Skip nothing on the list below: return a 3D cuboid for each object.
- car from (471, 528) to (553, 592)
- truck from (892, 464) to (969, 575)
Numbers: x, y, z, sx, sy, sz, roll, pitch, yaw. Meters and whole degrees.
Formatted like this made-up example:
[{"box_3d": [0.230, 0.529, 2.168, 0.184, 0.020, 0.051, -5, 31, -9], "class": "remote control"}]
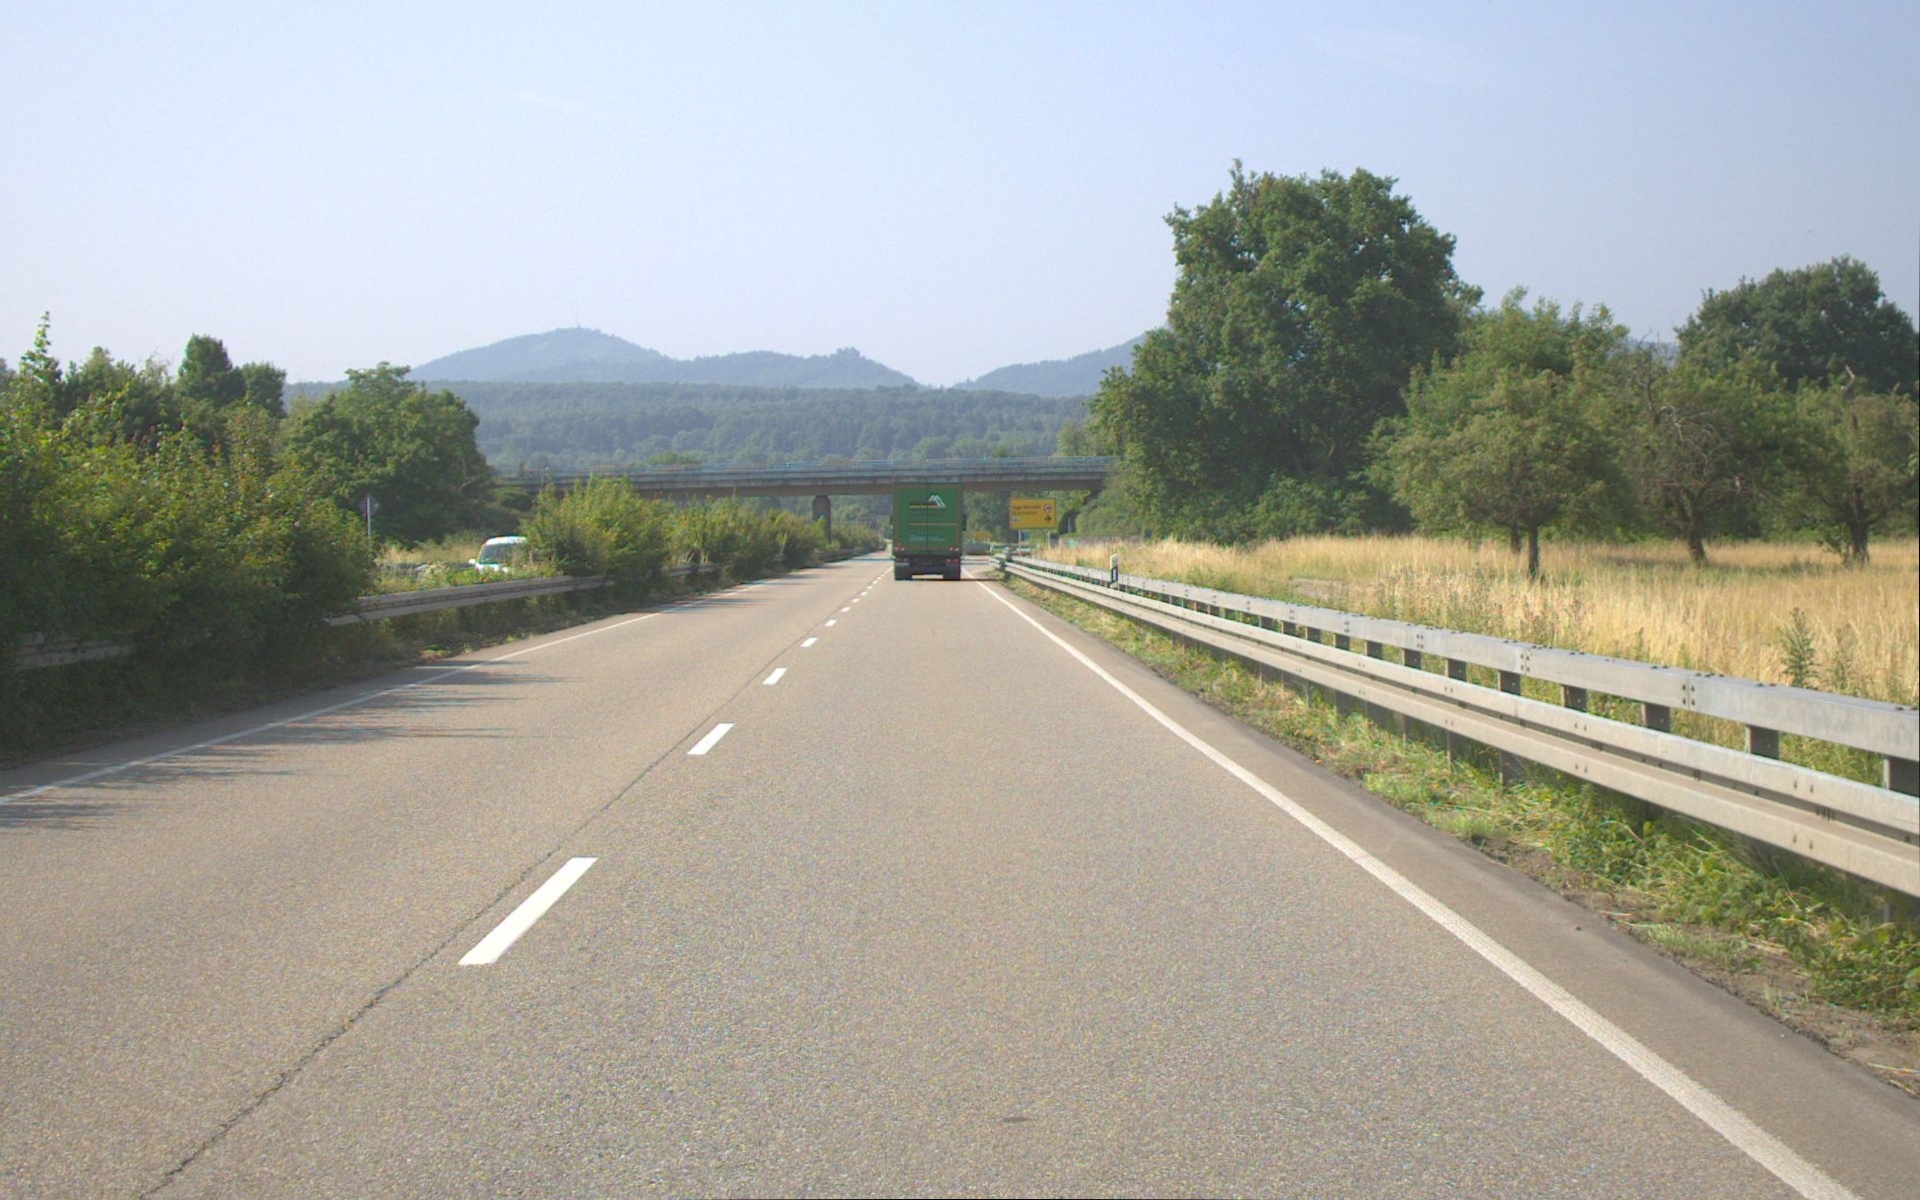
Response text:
[{"box_3d": [-11.796, -1.063, 90.651, 1.660, 1.636, 4.000, 0, 1, 0], "class": "car"}, {"box_3d": [-1.089, -3.119, 129.440, 2.722, 3.951, 10.417, 1, 2, 0], "class": "truck"}]
